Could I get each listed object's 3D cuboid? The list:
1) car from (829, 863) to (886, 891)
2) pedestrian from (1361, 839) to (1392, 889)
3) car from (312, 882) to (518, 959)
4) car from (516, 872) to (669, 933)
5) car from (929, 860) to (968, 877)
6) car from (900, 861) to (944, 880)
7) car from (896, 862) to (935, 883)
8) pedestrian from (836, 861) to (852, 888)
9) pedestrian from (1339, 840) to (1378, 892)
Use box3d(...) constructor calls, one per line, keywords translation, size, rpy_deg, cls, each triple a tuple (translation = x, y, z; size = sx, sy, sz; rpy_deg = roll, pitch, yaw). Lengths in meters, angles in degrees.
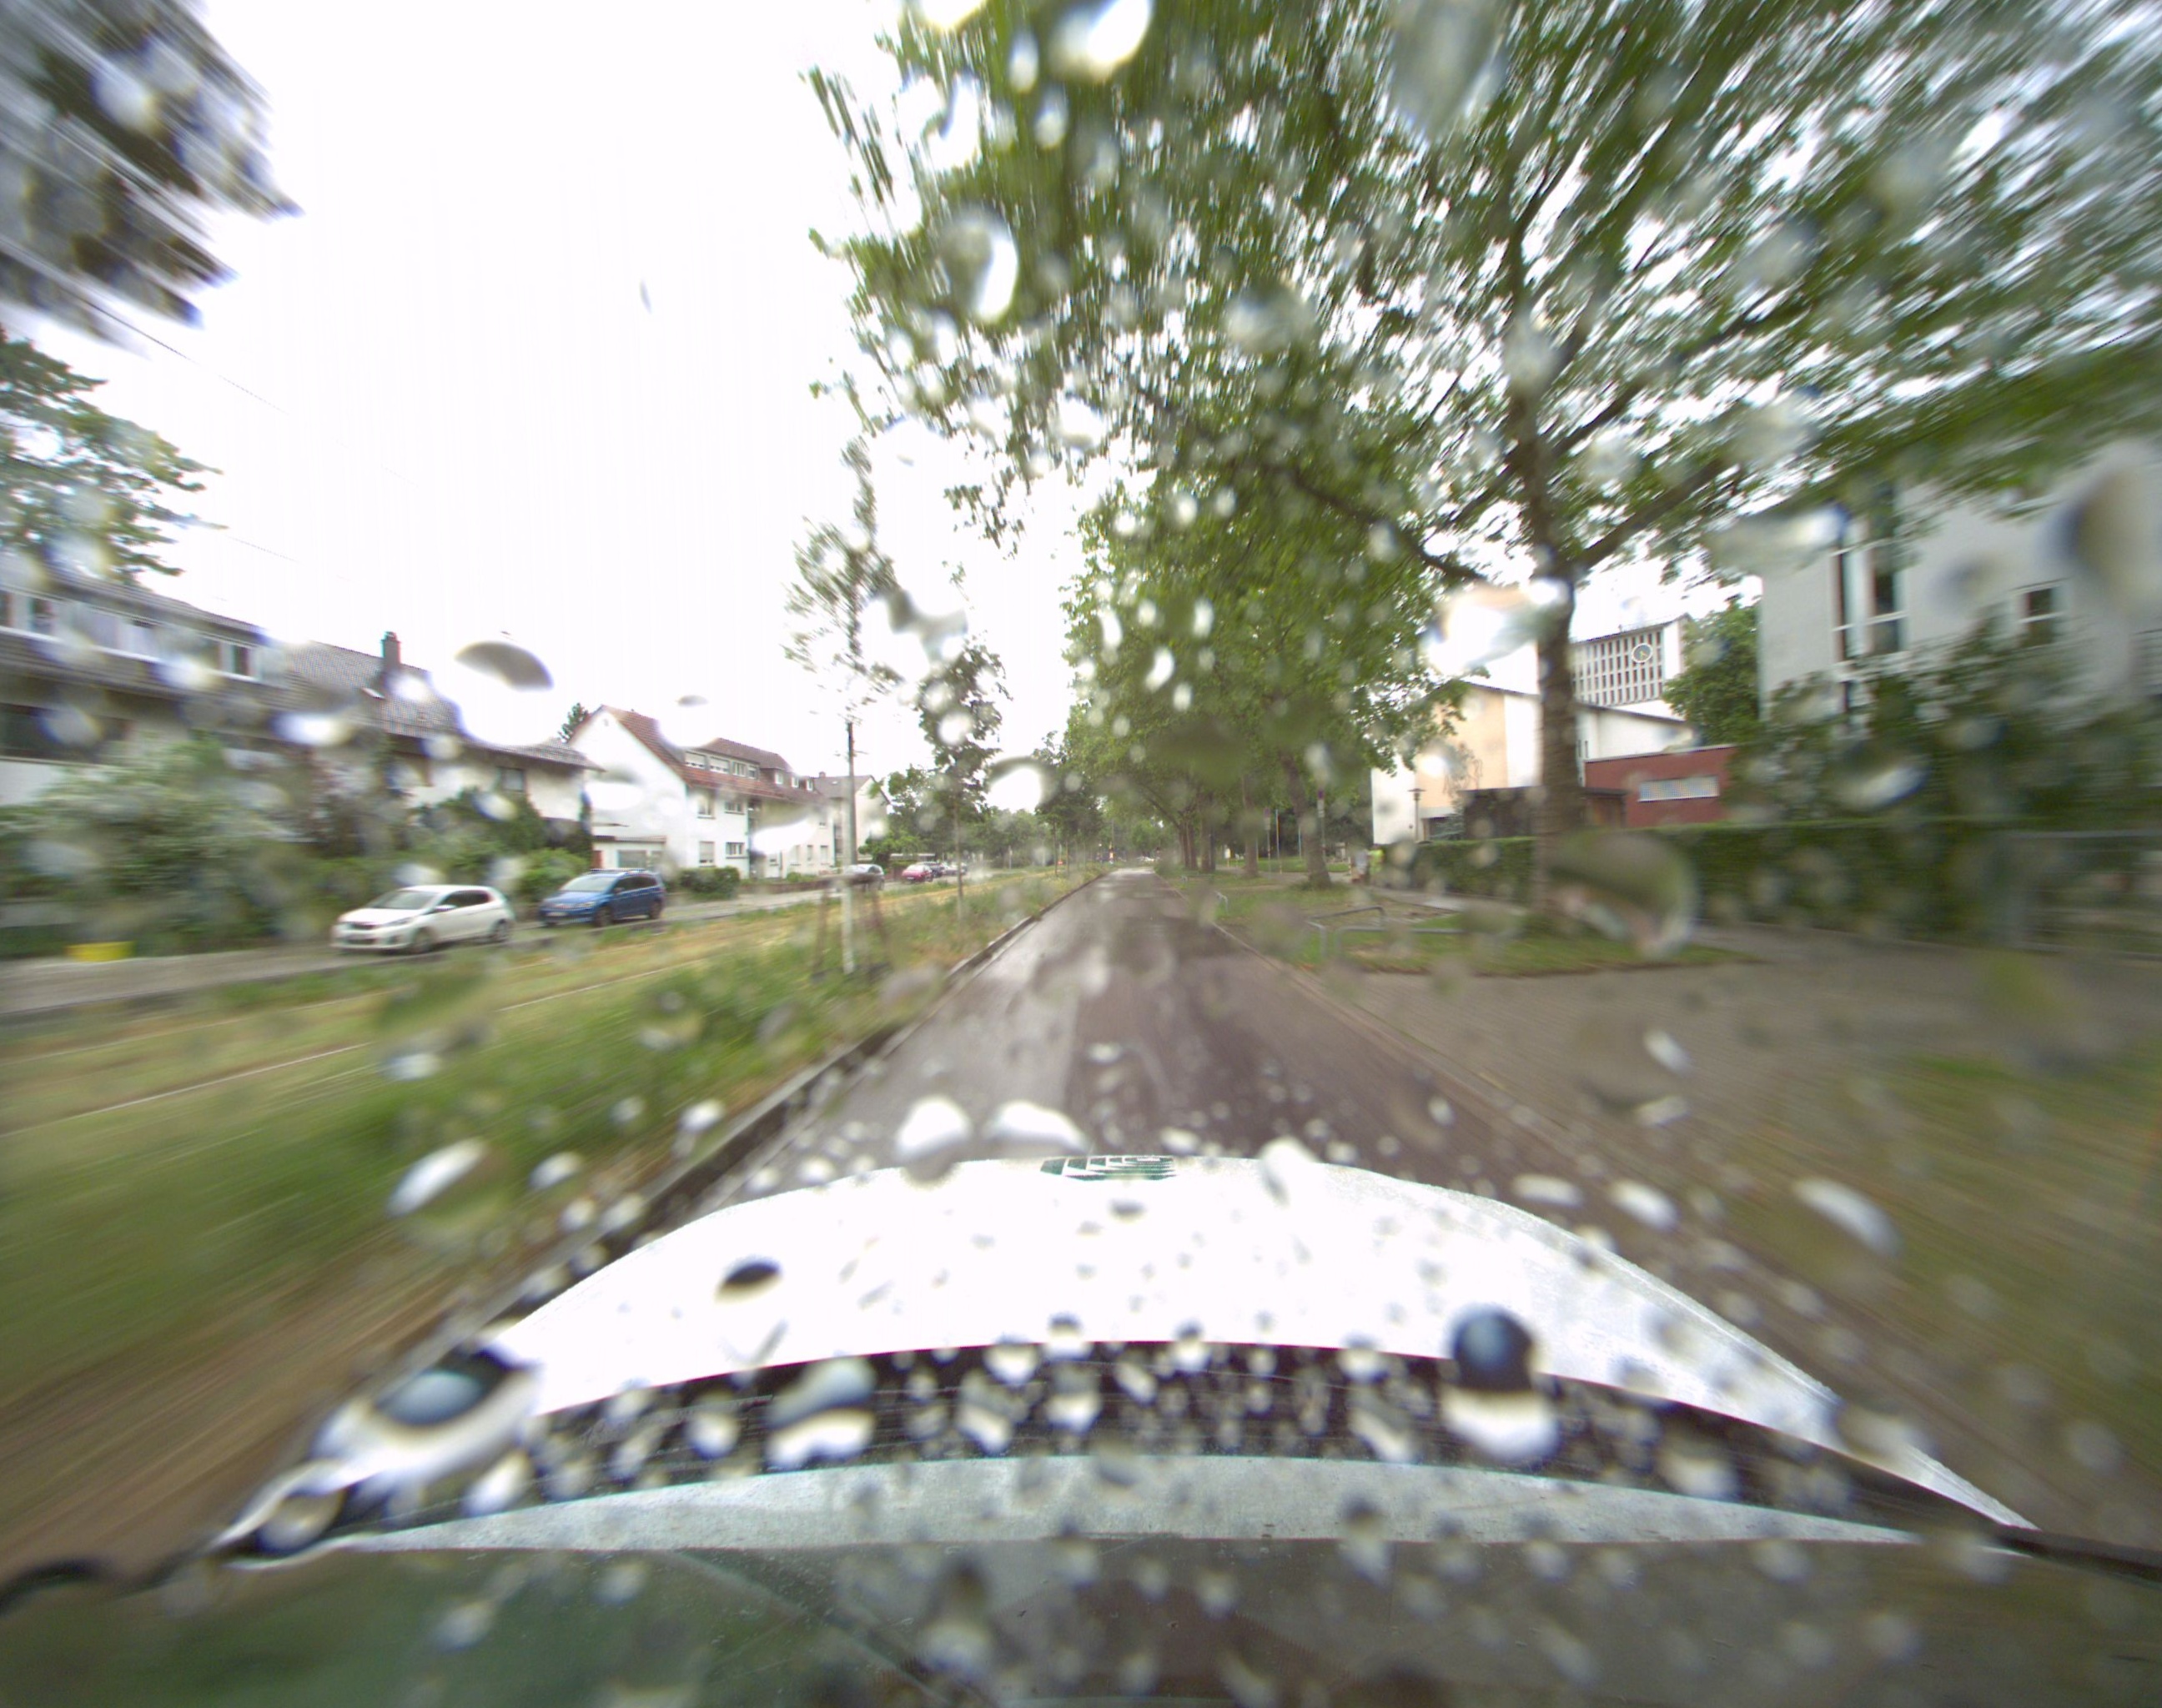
box3d(translation=(-13.464, 1.359, 49.363), size=(1.985, 1.581, 4.520), rpy_deg=(0, 0, 3), cls="car")
box3d(translation=(9.478, 0.319, 26.126), size=(0.555, 1.538, 0.966), rpy_deg=(-2, 0, -2), cls="pedestrian")
box3d(translation=(-15.457, 1.481, 19.173), size=(1.789, 1.488, 3.599), rpy_deg=(0, 0, 3), cls="car")
box3d(translation=(-15.176, 1.443, 25.640), size=(1.985, 1.614, 4.416), rpy_deg=(0, 0, 3), cls="car")
box3d(translation=(-14.676, 1.580, 90.400), size=(3.973, 1.616, 2.000), rpy_deg=(-3, 0, 0), cls="car")
box3d(translation=(-15.995, 1.643, 82.212), size=(3.973, 1.616, 2.000), rpy_deg=(-3, 0, 0), cls="car")
box3d(translation=(-12.818, 1.384, 63.359), size=(1.985, 1.488, 4.208), rpy_deg=(0, 0, 3), cls="car")
box3d(translation=(-15.835, 1.354, 54.487), size=(0.699, 1.755, 0.855), rpy_deg=(-3, -1, 3), cls="pedestrian")
box3d(translation=(8.655, 0.363, 25.439), size=(0.831, 1.538, 0.859), rpy_deg=(-3, 0, -2), cls="pedestrian")
